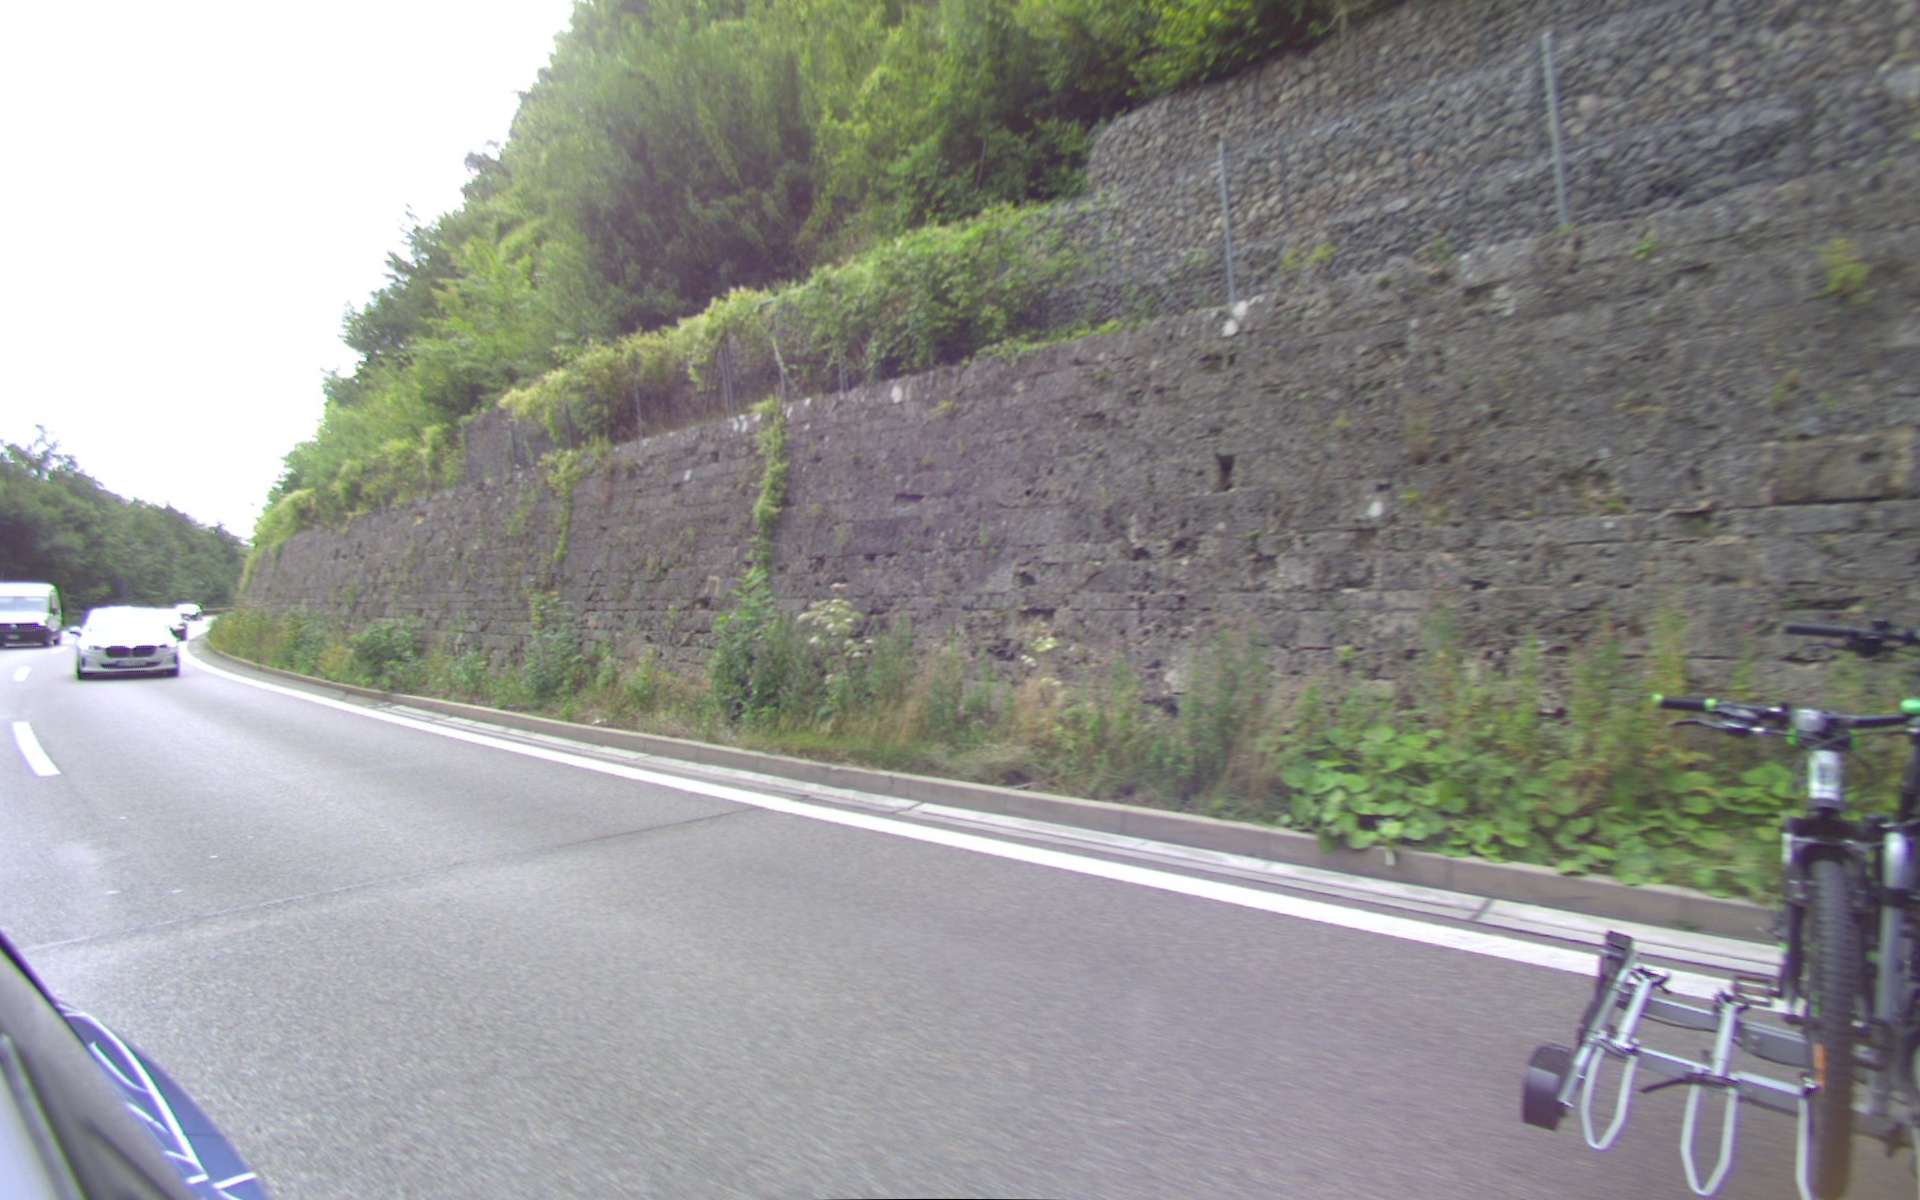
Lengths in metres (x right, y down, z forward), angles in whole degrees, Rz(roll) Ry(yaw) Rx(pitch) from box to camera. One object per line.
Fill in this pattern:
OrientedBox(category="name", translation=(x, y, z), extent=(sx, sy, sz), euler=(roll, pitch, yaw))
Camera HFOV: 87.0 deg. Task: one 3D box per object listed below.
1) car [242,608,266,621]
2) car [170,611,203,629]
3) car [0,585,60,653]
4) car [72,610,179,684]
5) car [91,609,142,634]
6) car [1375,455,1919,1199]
OrientedBox(category="car", translation=(-86.842, 1.787, 124.558), extent=(1.793, 1.567, 4.013), euler=(0, -1, -25))
OrientedBox(category="car", translation=(-69.431, 1.773, 90.863), extent=(1.793, 1.567, 4.012), euler=(0, -1, -29))
OrientedBox(category="car", translation=(-38.117, 0.799, 40.983), extent=(2.066, 2.582, 5.931), euler=(0, -1, -38))
OrientedBox(category="car", translation=(-19.628, 1.055, 23.776), extent=(1.796, 1.567, 4.006), euler=(0, -1, -41))
OrientedBox(category="car", translation=(-56.202, 1.428, 67.480), extent=(1.793, 1.567, 4.013), euler=(0, -1, -28))
OrientedBox(category="car", translation=(3.527, 0.561, 0.818), extent=(5.582, 1.605, 1.951), euler=(0, 2, 41))
